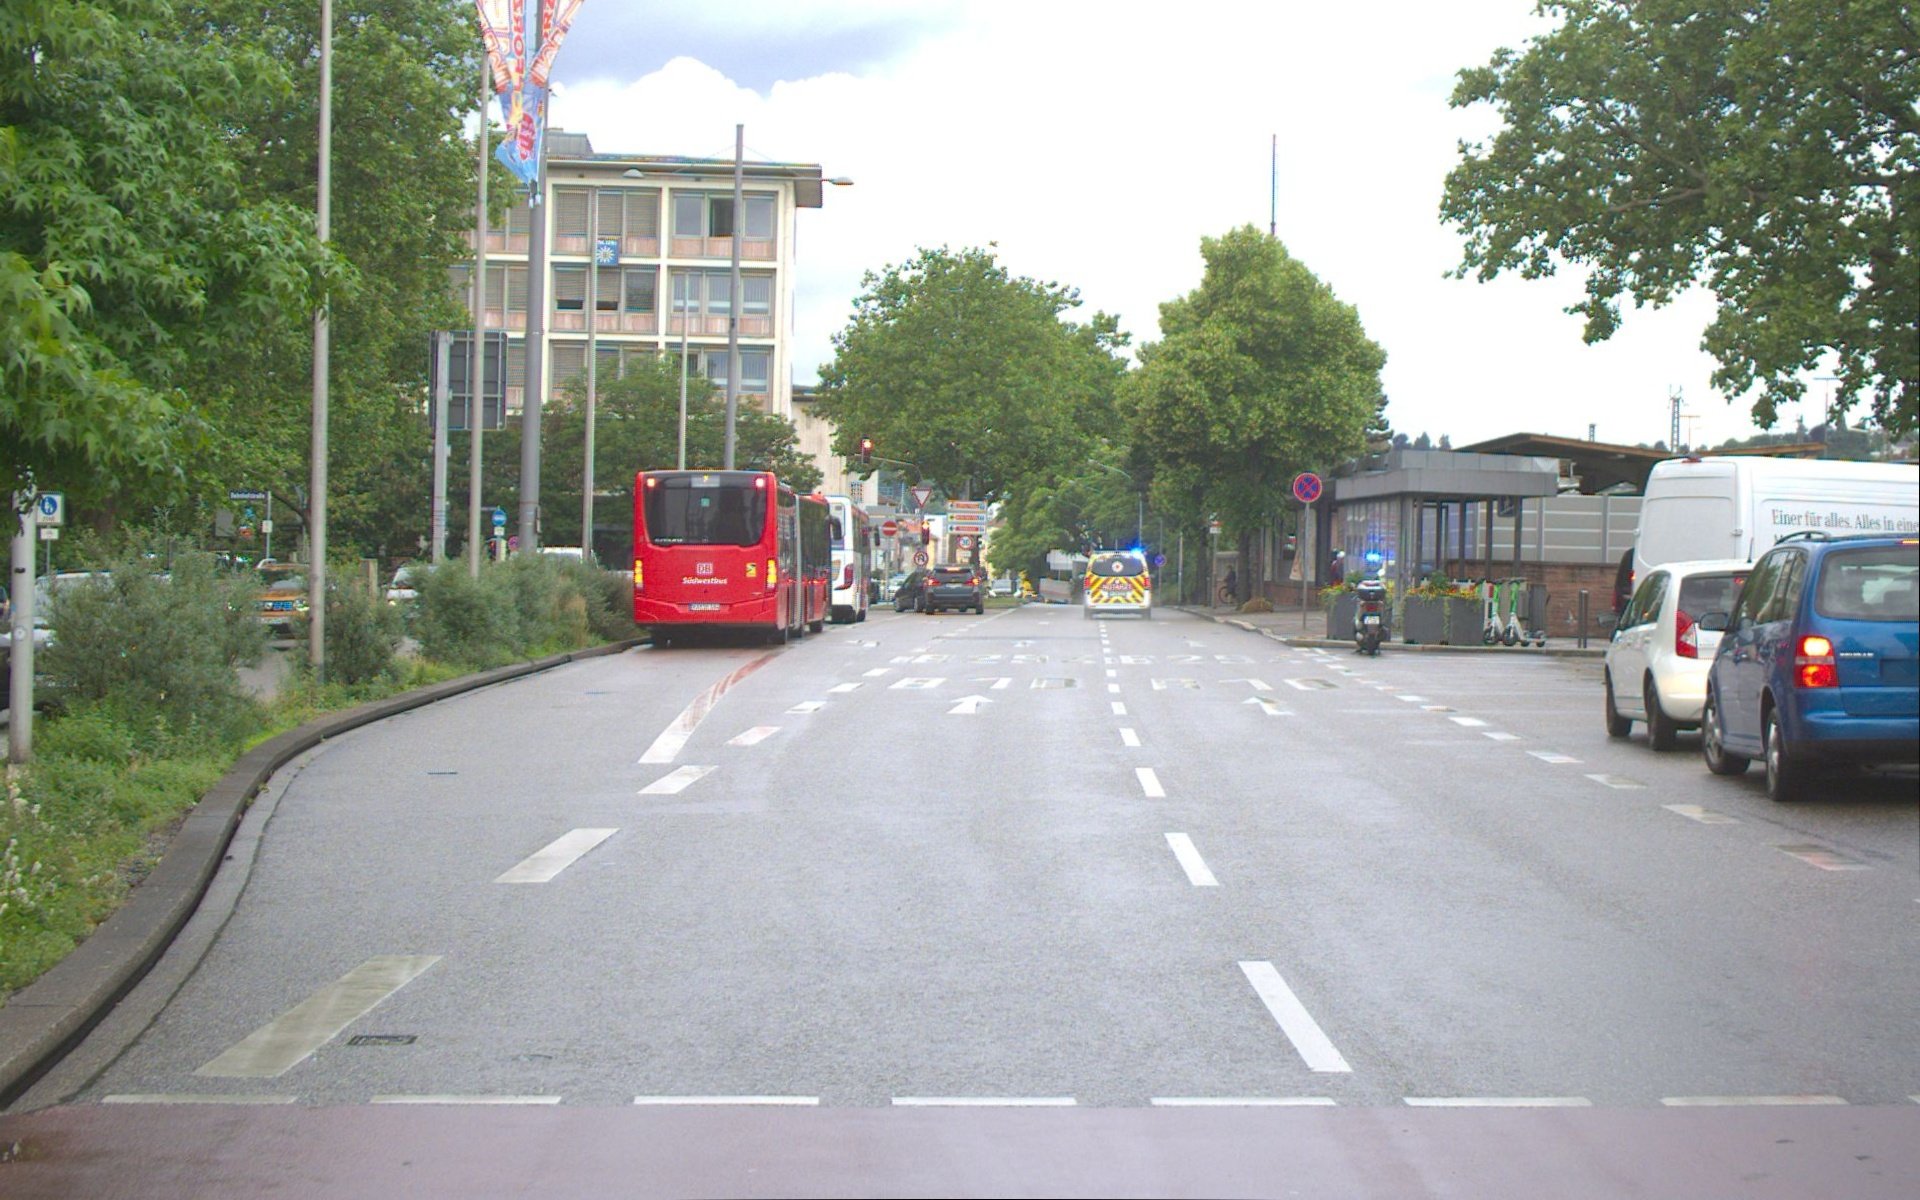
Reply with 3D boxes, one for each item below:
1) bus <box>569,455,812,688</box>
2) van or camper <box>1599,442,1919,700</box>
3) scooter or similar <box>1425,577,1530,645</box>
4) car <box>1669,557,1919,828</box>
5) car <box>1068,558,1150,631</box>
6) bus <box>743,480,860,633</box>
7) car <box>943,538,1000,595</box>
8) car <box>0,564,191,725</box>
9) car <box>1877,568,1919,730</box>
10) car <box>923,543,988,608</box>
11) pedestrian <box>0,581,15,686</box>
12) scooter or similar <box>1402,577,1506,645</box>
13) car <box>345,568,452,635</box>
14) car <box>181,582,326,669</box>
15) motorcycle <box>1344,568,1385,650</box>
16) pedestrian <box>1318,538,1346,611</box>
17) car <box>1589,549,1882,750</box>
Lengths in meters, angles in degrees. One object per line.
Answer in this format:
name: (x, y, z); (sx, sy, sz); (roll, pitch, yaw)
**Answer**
bus: (-4.914, -0.559, 65.141); (3.545, 3.966, 11.172); (-1, 1, 1)
van or camper: (10.384, -0.378, 39.209); (5.946, 2.753, 2.199); (-1, 1, -27)
scooter or similar: (8.805, 0.175, 58.445); (2.145, 1.106, 0.443); (-1, 1, -40)
car: (5.744, 0.528, 21.851); (1.859, 1.564, 4.000); (0, 0, 3)
car: (4.250, -0.187, 98.806); (1.993, 2.007, 5.062); (-1, 1, -1)
bus: (-4.125, -1.138, 90.337); (2.805, 3.734, 10.446); (-1, 1, -2)
car: (0.384, -1.211, 124.967); (1.993, 2.007, 4.000); (-1, 1, 0)
car: (-8.663, 0.390, 32.849); (1.747, 1.425, 3.953); (-1, 1, 0)
car: (10.440, 0.433, 30.965); (3.986, 1.438, 1.865); (0, 0, -27)
car: (-0.142, -0.787, 109.448); (1.993, 2.007, 4.000); (-1, 1, 0)
pedestrian: (-17.849, 0.621, 62.731); (0.842, 1.894, 0.953); (-1, 1, -37)
scooter or similar: (8.458, 0.181, 58.811); (2.145, 1.106, 0.427); (-1, 1, -40)
car: (-12.538, 0.008, 76.979); (1.747, 1.425, 3.953); (-1, 1, 0)
car: (-12.514, 0.430, 61.100); (1.747, 1.425, 3.953); (-1, 1, 0)
motorcycle: (6.600, 0.135, 56.087); (0.595, 1.284, 1.953); (-1, 1, 5)
pedestrian: (9.306, -0.636, 86.058); (0.622, 1.810, 0.598); (0, 1, 0)
car: (6.191, 0.364, 27.809); (1.788, 1.517, 3.681); (0, 0, 4)
